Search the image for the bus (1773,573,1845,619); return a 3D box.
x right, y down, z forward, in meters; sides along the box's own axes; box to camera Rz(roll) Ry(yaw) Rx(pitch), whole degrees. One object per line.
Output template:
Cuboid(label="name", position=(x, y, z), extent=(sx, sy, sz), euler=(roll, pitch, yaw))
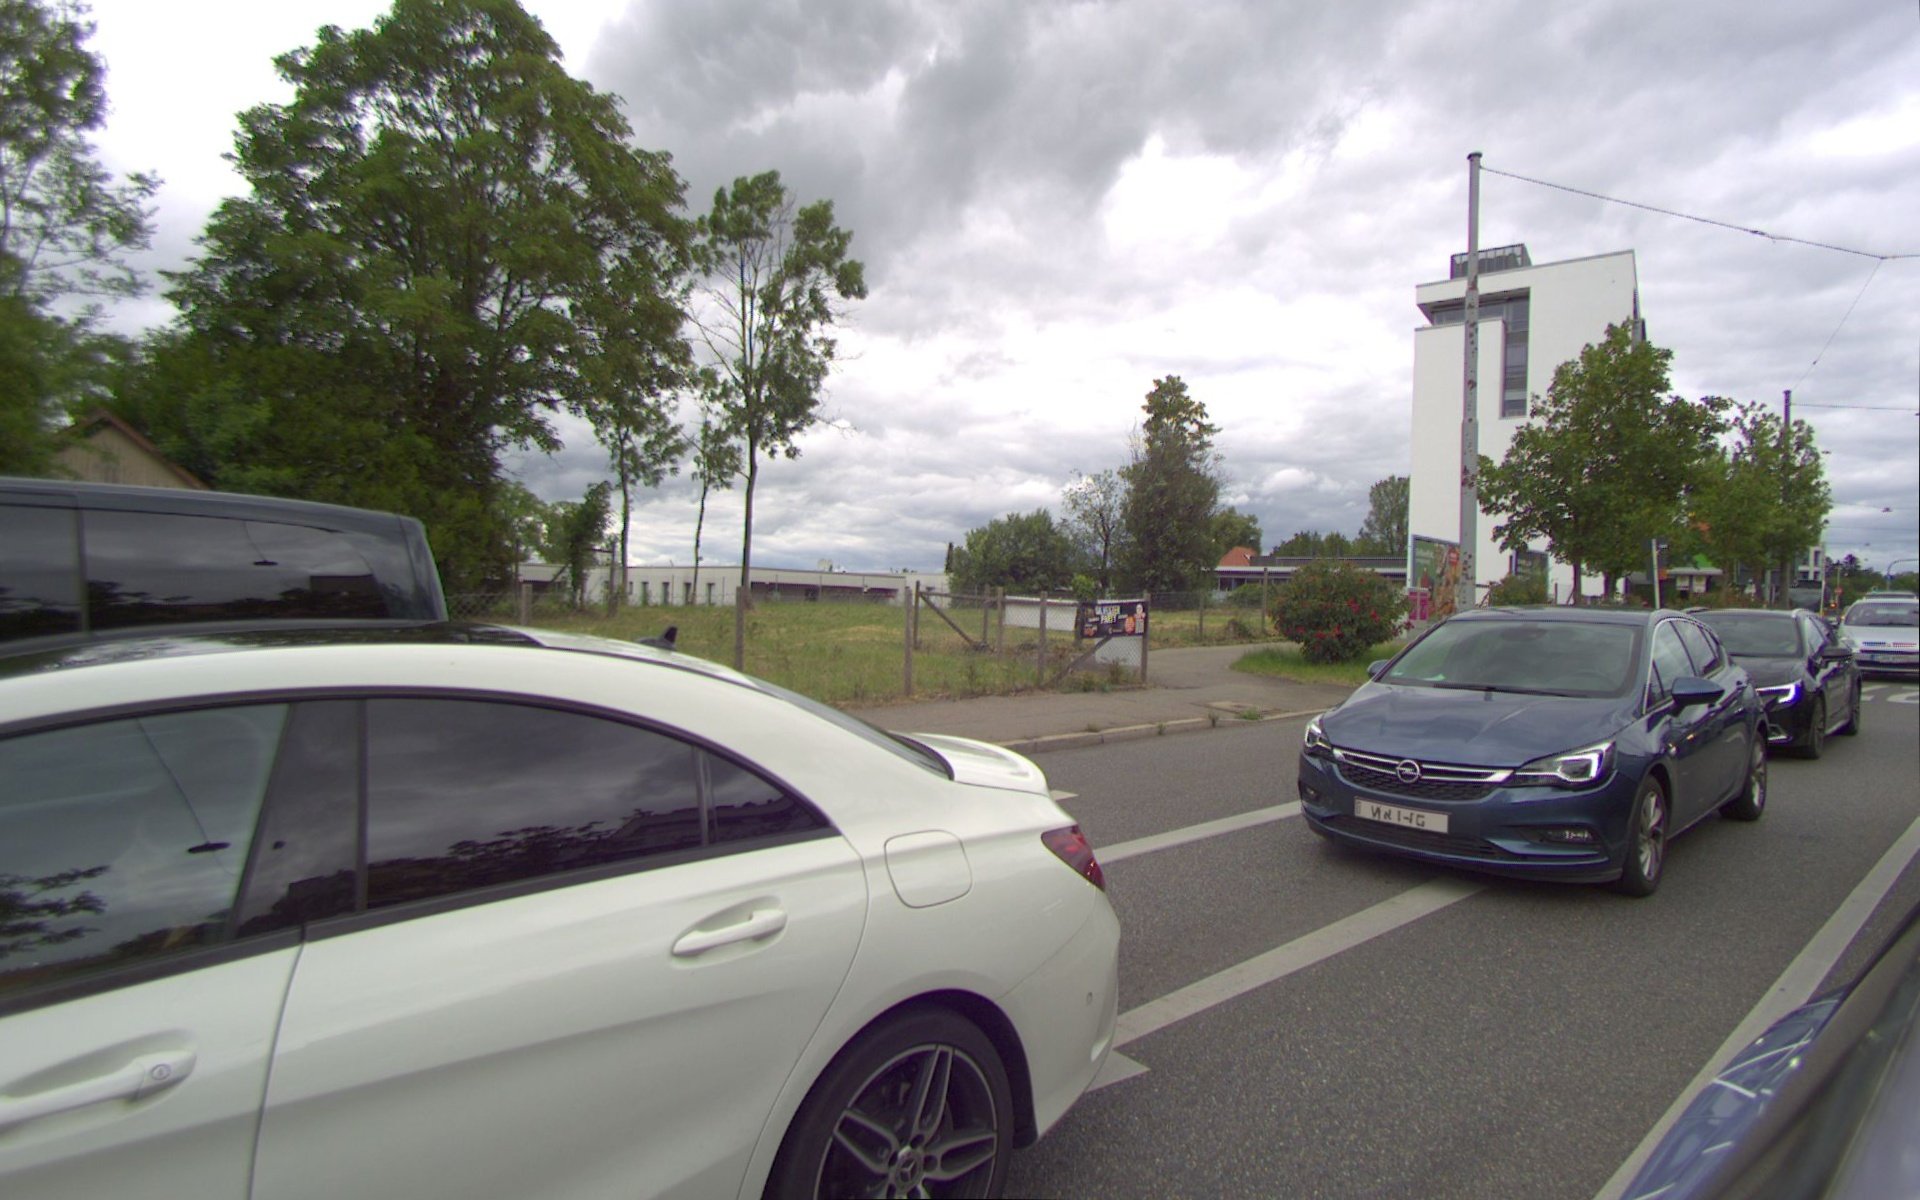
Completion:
Cuboid(label="bus", position=(53.958, -0.306, 64.576), extent=(2.952, 2.664, 11.986), euler=(0, 1, 37))

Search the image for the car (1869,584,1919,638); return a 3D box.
Cuboid(label="car", position=(34.926, 0.382, 37.350), extent=(1.847, 1.910, 4.070), euler=(-1, -1, 45))

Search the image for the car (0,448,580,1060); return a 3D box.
Cuboid(label="car", position=(-3.965, 0.474, 3.468), extent=(4.627, 1.863, 1.952), euler=(0, -1, -41))

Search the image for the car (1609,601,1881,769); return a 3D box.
Cuboid(label="car", position=(8.569, 0.759, 10.934), extent=(3.854, 1.475, 1.663), euler=(0, 0, -42))

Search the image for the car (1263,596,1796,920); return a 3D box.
Cuboid(label="car", position=(3.813, 0.694, 6.484), extent=(3.931, 1.428, 1.825), euler=(0, 0, -42))

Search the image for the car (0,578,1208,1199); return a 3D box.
Cuboid(label="car", position=(-1.534, 0.697, 1.817), extent=(4.300, 1.451, 1.652), euler=(0, 1, -41))

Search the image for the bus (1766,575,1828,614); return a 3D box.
Cuboid(label="bus", position=(61.425, -0.440, 74.476), extent=(2.952, 2.664, 12.751), euler=(0, 1, 37))

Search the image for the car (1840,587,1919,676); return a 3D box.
Cuboid(label="car", position=(19.061, 0.581, 20.132), extent=(3.717, 1.637, 1.849), euler=(0, -1, -41))
